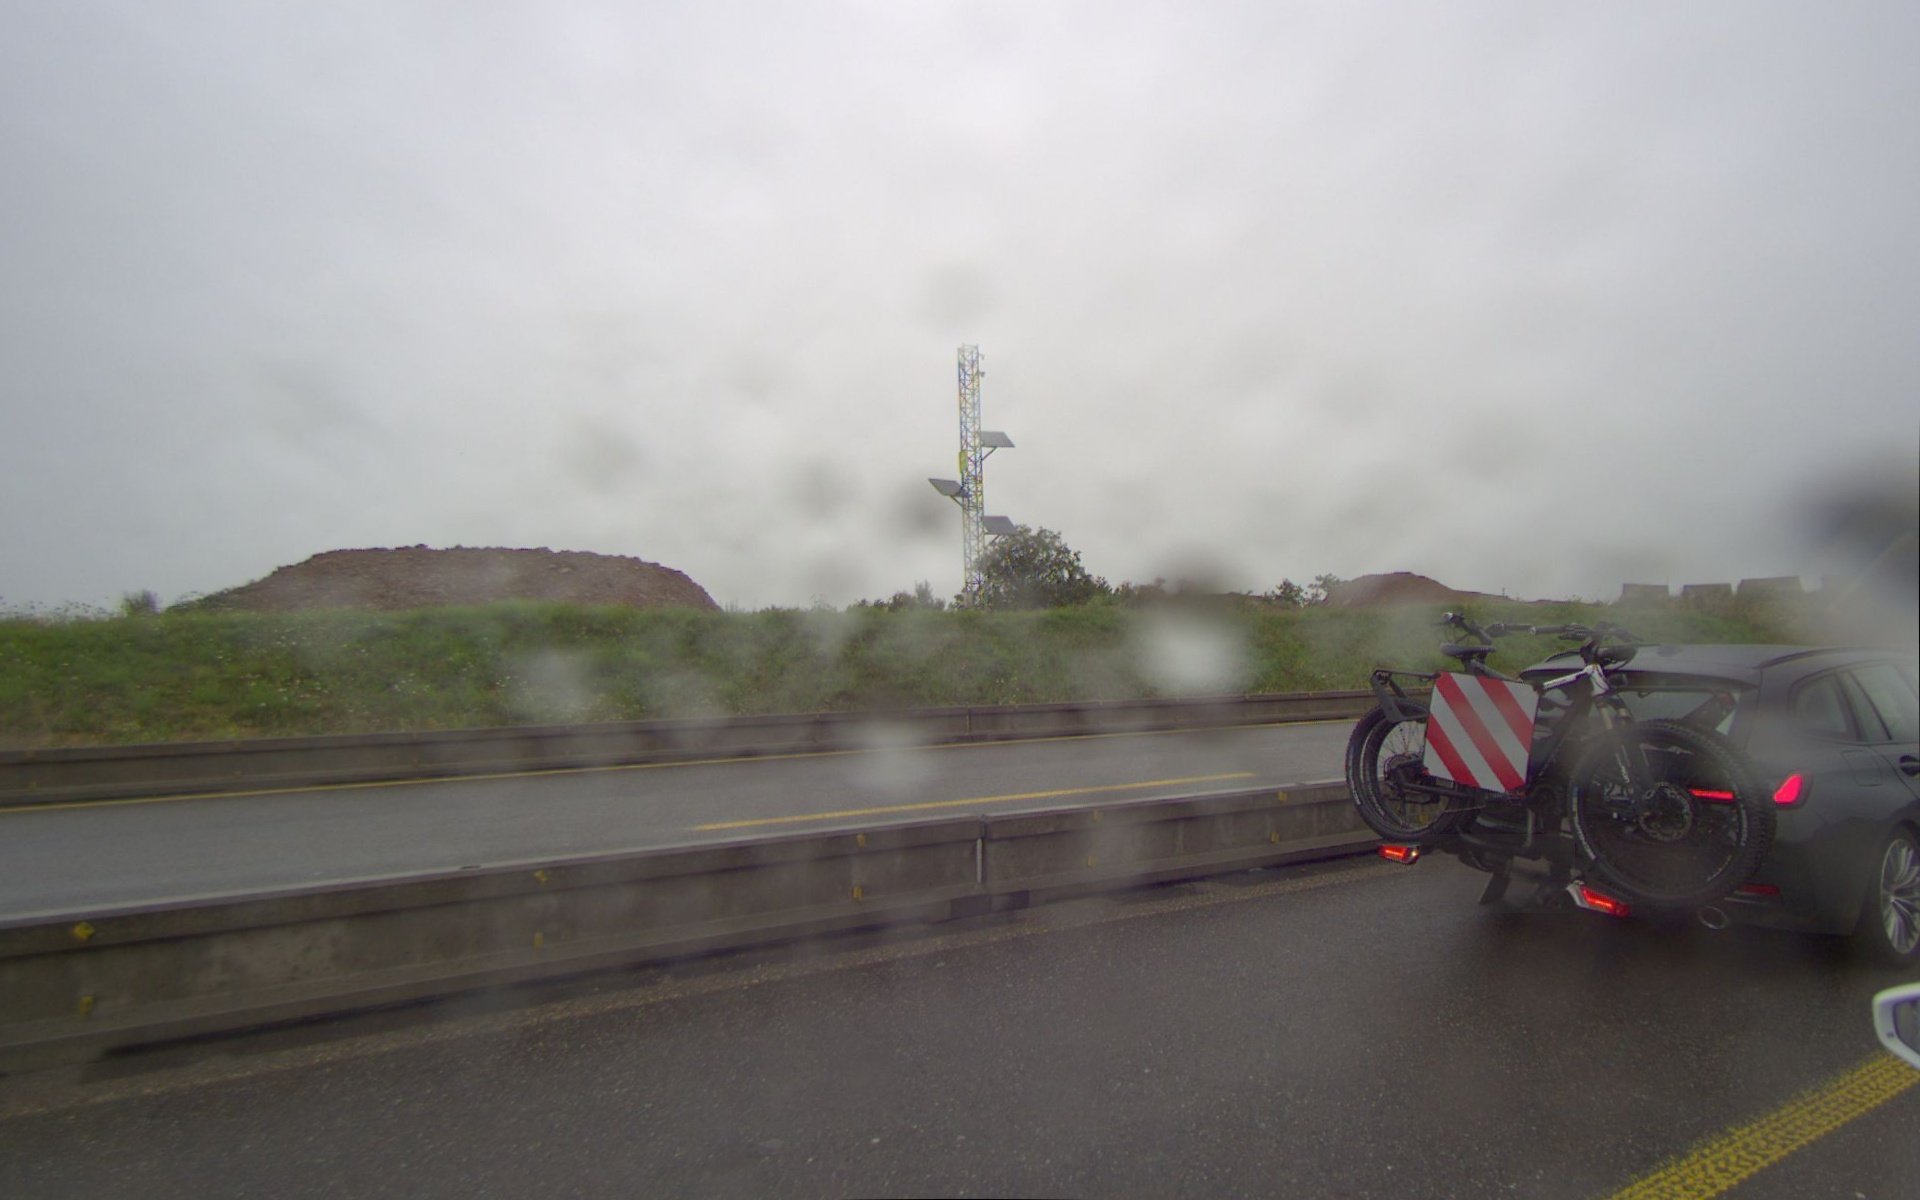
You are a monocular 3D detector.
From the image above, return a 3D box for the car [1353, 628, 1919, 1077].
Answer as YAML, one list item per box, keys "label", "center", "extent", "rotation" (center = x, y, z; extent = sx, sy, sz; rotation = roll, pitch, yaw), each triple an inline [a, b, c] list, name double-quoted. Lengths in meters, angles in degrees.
- label: "car"
  center: [4.830, 0.971, 5.794]
  extent: [5.563, 1.482, 1.726]
  rotation: [-1, -1, -31]
